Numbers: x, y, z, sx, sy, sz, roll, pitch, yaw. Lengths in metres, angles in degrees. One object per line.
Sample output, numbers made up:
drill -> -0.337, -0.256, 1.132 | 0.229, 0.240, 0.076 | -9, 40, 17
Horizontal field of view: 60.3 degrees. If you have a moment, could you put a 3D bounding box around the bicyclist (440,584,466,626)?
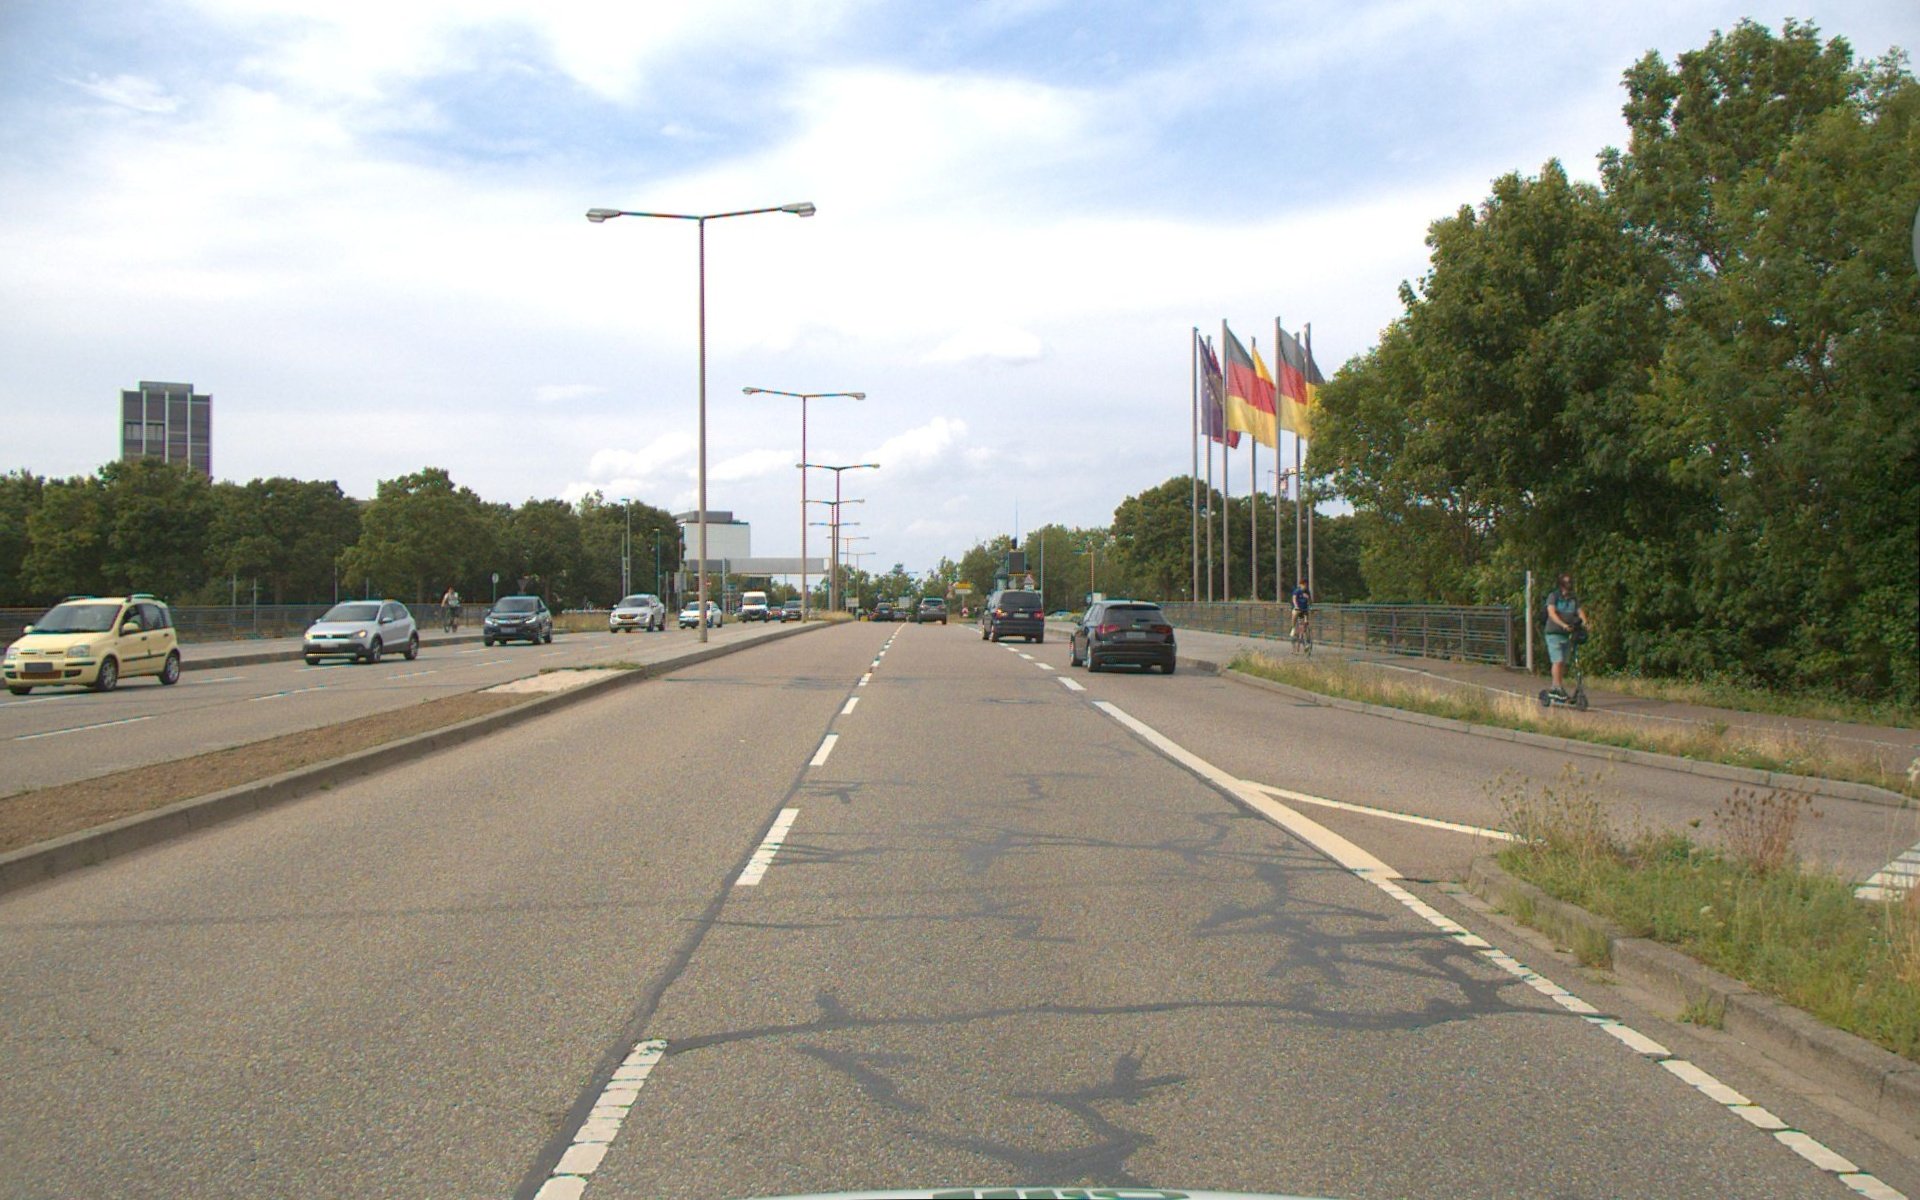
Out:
bicyclist -> -20.361, 0.213, 66.414 | 0.779, 1.655, 0.975 | 1, 0, -4

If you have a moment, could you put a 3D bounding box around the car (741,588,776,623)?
car -> -16.215, 0.421, 133.291 | 2.011, 2.689, 6.400 | -2, 0, 0

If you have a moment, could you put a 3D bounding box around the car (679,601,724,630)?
car -> -14.317, 0.839, 91.824 | 1.702, 1.506, 4.472 | -2, 0, 1

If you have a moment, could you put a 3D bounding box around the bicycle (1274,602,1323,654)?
bicycle -> 7.420, 0.592, 36.365 | 0.565, 1.039, 1.975 | -3, 1, -2

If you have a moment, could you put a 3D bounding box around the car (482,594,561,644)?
car -> -14.453, 0.598, 54.714 | 1.705, 1.542, 4.312 | -2, 0, -4

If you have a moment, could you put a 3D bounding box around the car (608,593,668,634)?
car -> -14.692, 0.580, 75.637 | 1.825, 1.755, 4.769 | -2, 0, -1

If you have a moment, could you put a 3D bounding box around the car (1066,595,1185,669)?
car -> 3.311, 0.629, 33.816 | 1.697, 1.419, 4.111 | 0, -1, -5

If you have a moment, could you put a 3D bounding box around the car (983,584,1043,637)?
car -> 1.745, 0.367, 55.674 | 1.696, 1.682, 4.112 | 1, -1, -3

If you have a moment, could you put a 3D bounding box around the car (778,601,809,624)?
car -> -11.393, 0.857, 113.318 | 1.703, 1.506, 4.774 | -2, -1, -2

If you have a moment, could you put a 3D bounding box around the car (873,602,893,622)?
car -> -6.887, 1.096, 148.327 | 1.696, 1.682, 4.112 | 1, -1, -3

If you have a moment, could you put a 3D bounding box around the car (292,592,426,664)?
car -> -14.379, 0.630, 39.779 | 1.615, 1.542, 4.017 | -1, 1, 1

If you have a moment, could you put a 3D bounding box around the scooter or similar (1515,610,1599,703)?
scooter or similar -> 8.325, 0.777, 23.101 | 0.577, 1.246, 1.200 | 1, 0, -10

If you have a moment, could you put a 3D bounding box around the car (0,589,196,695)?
car -> -14.494, 0.655, 27.953 | 1.517, 1.605, 3.689 | -2, 1, -2

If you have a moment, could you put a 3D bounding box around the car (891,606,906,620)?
car -> -6.911, 1.487, 185.795 | 1.696, 1.553, 4.112 | 1, -1, -3

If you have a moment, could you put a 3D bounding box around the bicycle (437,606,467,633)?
bicycle -> -20.365, 0.779, 66.311 | 0.692, 1.068, 2.058 | 1, 0, -4

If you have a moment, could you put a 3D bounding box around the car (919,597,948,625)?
car -> -1.674, 0.705, 103.851 | 1.696, 1.682, 4.112 | 1, -1, -3

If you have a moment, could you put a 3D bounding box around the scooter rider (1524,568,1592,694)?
scooter rider -> 8.337, 0.431, 23.057 | 0.577, 1.720, 0.742 | 1, 0, -10

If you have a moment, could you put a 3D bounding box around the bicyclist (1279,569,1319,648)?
bicyclist -> 7.433, 0.181, 36.308 | 0.651, 1.688, 0.805 | 1, 2, -2
